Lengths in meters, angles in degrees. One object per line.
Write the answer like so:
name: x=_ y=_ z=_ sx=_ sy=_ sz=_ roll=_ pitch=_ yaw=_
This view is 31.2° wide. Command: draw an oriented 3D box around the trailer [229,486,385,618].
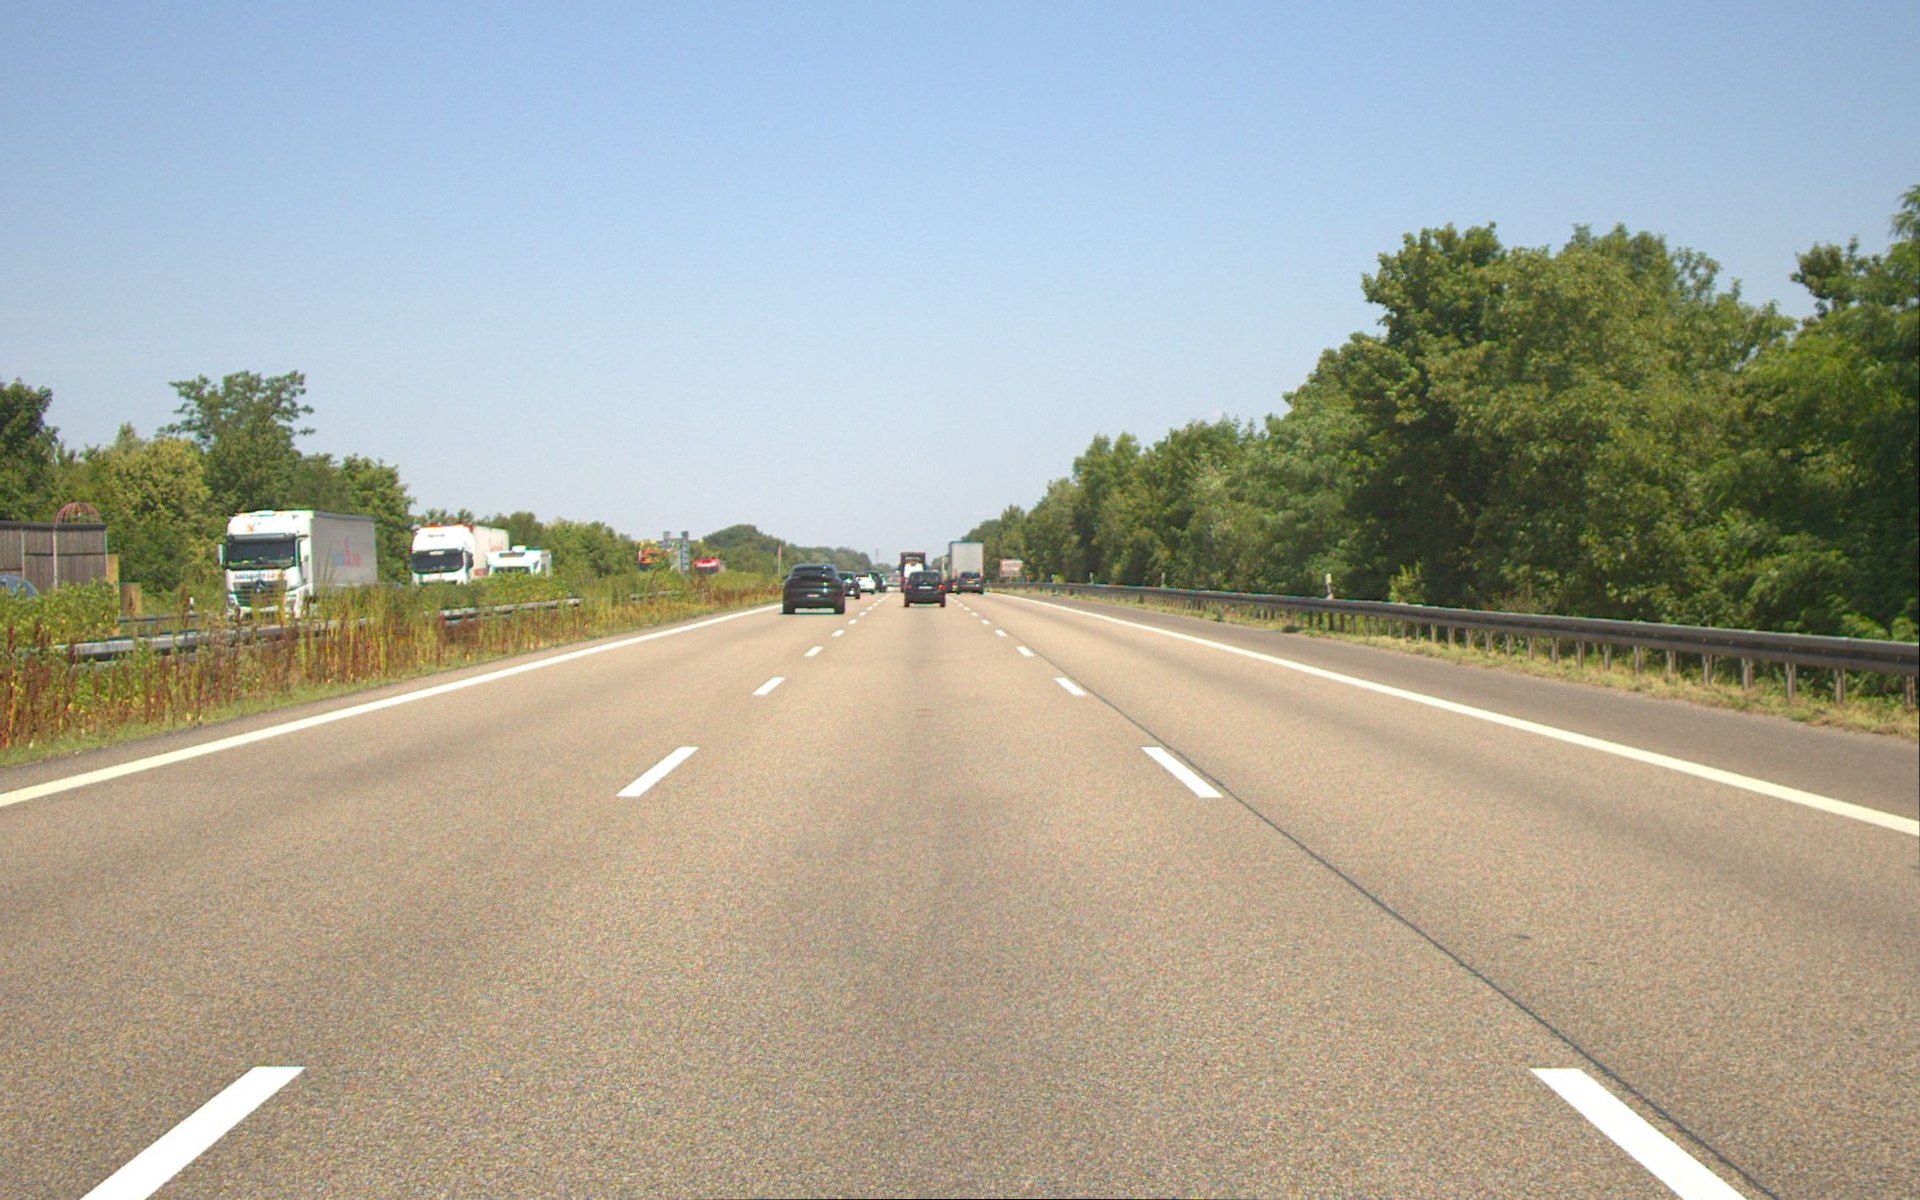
trailer: x=-23.227 y=-1.691 z=123.038 sx=3.166 sy=4.462 sz=12.953 roll=0 pitch=1 yaw=0

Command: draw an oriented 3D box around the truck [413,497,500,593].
truck: x=-22.572 y=-2.481 z=154.422 sx=2.842 sy=4.192 sz=7.715 roll=0 pitch=1 yaw=0

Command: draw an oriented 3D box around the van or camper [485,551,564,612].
van or camper: x=-18.636 y=-0.803 z=147.584 sx=2.465 sy=2.568 sz=7.411 roll=0 pitch=1 yaw=0

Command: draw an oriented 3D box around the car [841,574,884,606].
car: x=-5.168 y=-0.537 z=182.709 sx=2.128 sy=1.640 sz=4.304 roll=-1 pitch=0 yaw=0

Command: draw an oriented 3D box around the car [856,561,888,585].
car: x=-6.091 y=-1.865 z=238.606 sx=2.128 sy=1.640 sz=4.304 roll=-1 pitch=0 yaw=0

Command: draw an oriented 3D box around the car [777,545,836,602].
car: x=-5.057 y=-0.883 z=113.425 sx=1.880 sy=1.786 sz=4.001 roll=0 pitch=2 yaw=-2

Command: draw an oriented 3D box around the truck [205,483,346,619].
truck: x=-23.133 y=-1.643 z=116.536 sx=3.217 sy=4.424 sz=7.871 roll=0 pitch=1 yaw=0

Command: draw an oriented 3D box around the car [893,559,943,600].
car: x=-1.673 y=-0.819 z=138.074 sx=1.903 sy=1.578 sz=4.304 roll=-1 pitch=0 yaw=0

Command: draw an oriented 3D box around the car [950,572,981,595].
car: x=0.393 y=-1.151 z=240.249 sx=2.128 sy=1.578 sz=4.304 roll=-1 pitch=0 yaw=0
